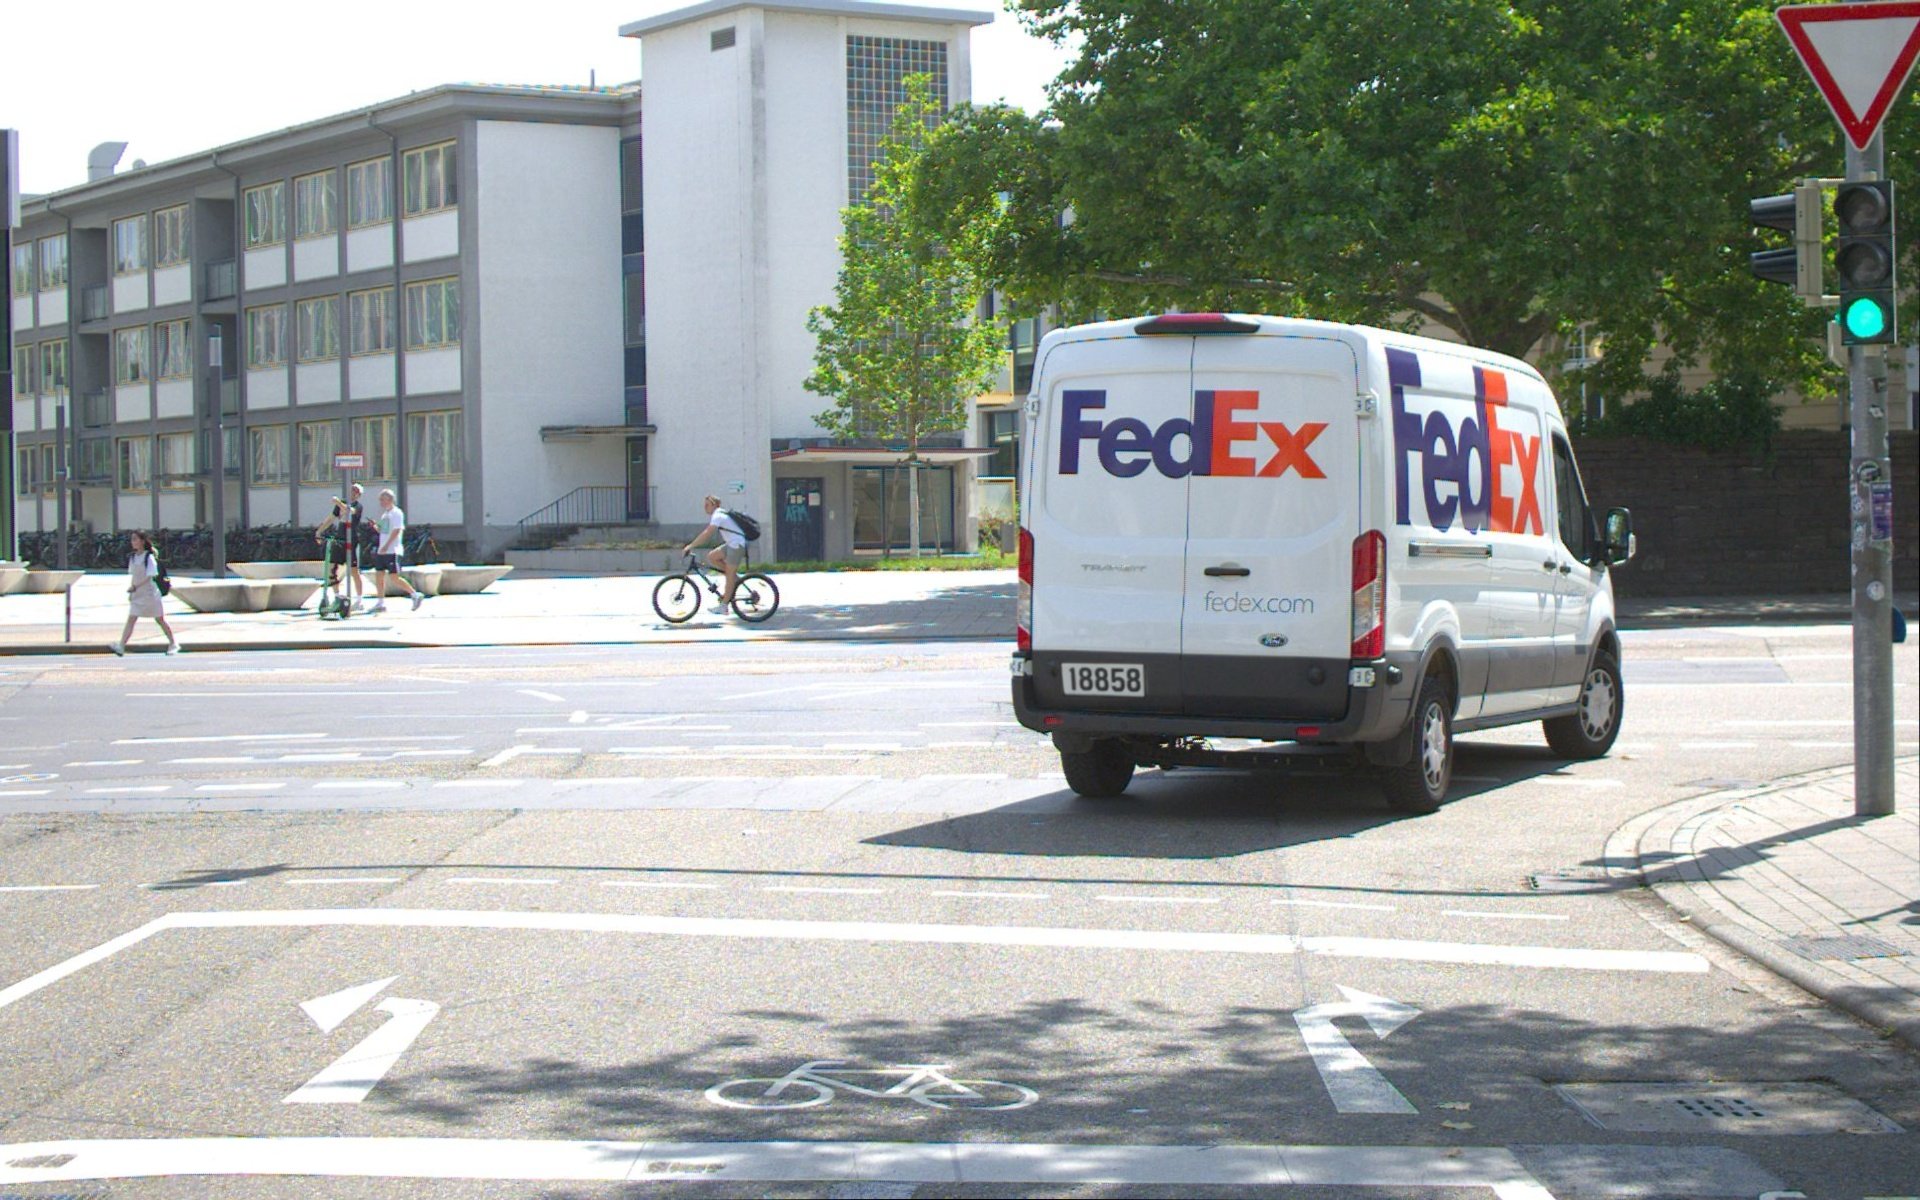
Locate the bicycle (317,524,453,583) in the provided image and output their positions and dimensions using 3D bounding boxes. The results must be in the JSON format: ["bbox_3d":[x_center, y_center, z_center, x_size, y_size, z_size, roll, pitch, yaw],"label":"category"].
[{"bbox_3d":[-13.474,-1.103,80.647,2.956,1.359,1.117,-1,1,-37],"label":"bicycle"}]

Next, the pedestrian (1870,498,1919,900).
[{"bbox_3d":[4.128,0.369,13.841,0.731,1.570,0.775,-2,1,5],"label":"pedestrian"}]

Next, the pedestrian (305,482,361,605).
[{"bbox_3d":[-9.330,-0.850,51.148,0.668,1.808,0.816,-1,1,-19],"label":"pedestrian"}]

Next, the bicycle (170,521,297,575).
[{"bbox_3d":[-18.457,-1.339,87.372,2.956,1.359,1.117,-1,1,-37],"label":"bicycle"}]

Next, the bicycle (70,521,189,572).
[{"bbox_3d":[-22.617,-1.466,93.681,2.956,1.359,1.117,-1,1,-37],"label":"bicycle"}]

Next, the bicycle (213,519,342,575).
[{"bbox_3d":[-16.909,-1.330,85.238,2.956,1.359,1.117,-1,1,-37],"label":"bicycle"}]

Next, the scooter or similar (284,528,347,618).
[{"bbox_3d":[-9.064,-0.398,48.280,0.716,1.174,2.726,-1,2,-13],"label":"scooter or similar"}]

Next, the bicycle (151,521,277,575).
[{"bbox_3d":[-19.180,-1.353,88.406,2.956,1.359,1.117,-1,1,-37],"label":"bicycle"}]

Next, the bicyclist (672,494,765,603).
[{"bbox_3d":[-3.314,-0.714,47.204,0.850,1.463,1.067,0,2,24],"label":"bicyclist"}]

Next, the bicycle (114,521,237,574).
[{"bbox_3d":[-20.600,-1.388,90.325,2.956,1.359,1.117,-1,1,-37],"label":"bicycle"}]

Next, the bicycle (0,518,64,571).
[{"bbox_3d":[-28.239,-1.644,102.085,2.956,1.569,1.117,-1,1,-37],"label":"bicycle"}]

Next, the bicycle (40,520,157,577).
[{"bbox_3d":[-24.052,-1.459,95.992,2.956,1.569,1.117,-1,1,-37],"label":"bicycle"}]

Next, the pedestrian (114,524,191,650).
[{"bbox_3d":[-9.952,-0.165,42.348,0.824,1.518,0.815,-1,1,-19],"label":"pedestrian"}]

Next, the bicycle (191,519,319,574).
[{"bbox_3d":[-17.694,-1.347,86.306,2.956,1.359,1.117,-1,1,-37],"label":"bicycle"}]

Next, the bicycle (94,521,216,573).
[{"bbox_3d":[-21.491,-1.417,91.822,2.956,1.359,1.117,-1,1,-37],"label":"bicycle"}]

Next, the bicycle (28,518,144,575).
[{"bbox_3d":[-24.667,-1.515,97.045,2.956,1.569,1.117,-1,1,-37],"label":"bicycle"}]

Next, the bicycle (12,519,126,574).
[{"bbox_3d":[-25.606,-1.548,98.806,2.956,1.569,1.117,-1,1,-37],"label":"bicycle"}]

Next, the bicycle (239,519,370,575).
[{"bbox_3d":[-16.019,-1.303,84.061,2.956,1.359,1.117,-1,1,-37],"label":"bicycle"}]

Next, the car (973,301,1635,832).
[{"bbox_3d":[2.153,-0.304,19.526,2.098,2.557,5.596,1,3,24],"label":"car"}]

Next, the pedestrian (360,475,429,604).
[{"bbox_3d":[-8.360,-0.900,50.836,0.865,1.882,0.913,-1,1,-17],"label":"pedestrian"}]

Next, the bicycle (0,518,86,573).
[{"bbox_3d":[-27.221,-1.604,100.639,2.956,1.569,1.117,-1,1,-37],"label":"bicycle"}]

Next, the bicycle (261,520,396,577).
[{"bbox_3d":[-15.249,-1.253,83.035,2.956,1.359,1.275,-1,1,-37],"label":"bicycle"}]

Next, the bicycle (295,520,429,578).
[{"bbox_3d":[-14.209,-1.229,81.756,2.956,1.359,1.117,-1,1,-37],"label":"bicycle"}]

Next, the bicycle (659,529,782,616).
[{"bbox_3d":[-3.281,-0.390,47.281,0.848,1.141,1.993,0,2,23],"label":"bicycle"}]

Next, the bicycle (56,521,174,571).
[{"bbox_3d":[-23.313,-1.488,94.870,2.956,1.359,1.117,-1,1,-37],"label":"bicycle"}]
